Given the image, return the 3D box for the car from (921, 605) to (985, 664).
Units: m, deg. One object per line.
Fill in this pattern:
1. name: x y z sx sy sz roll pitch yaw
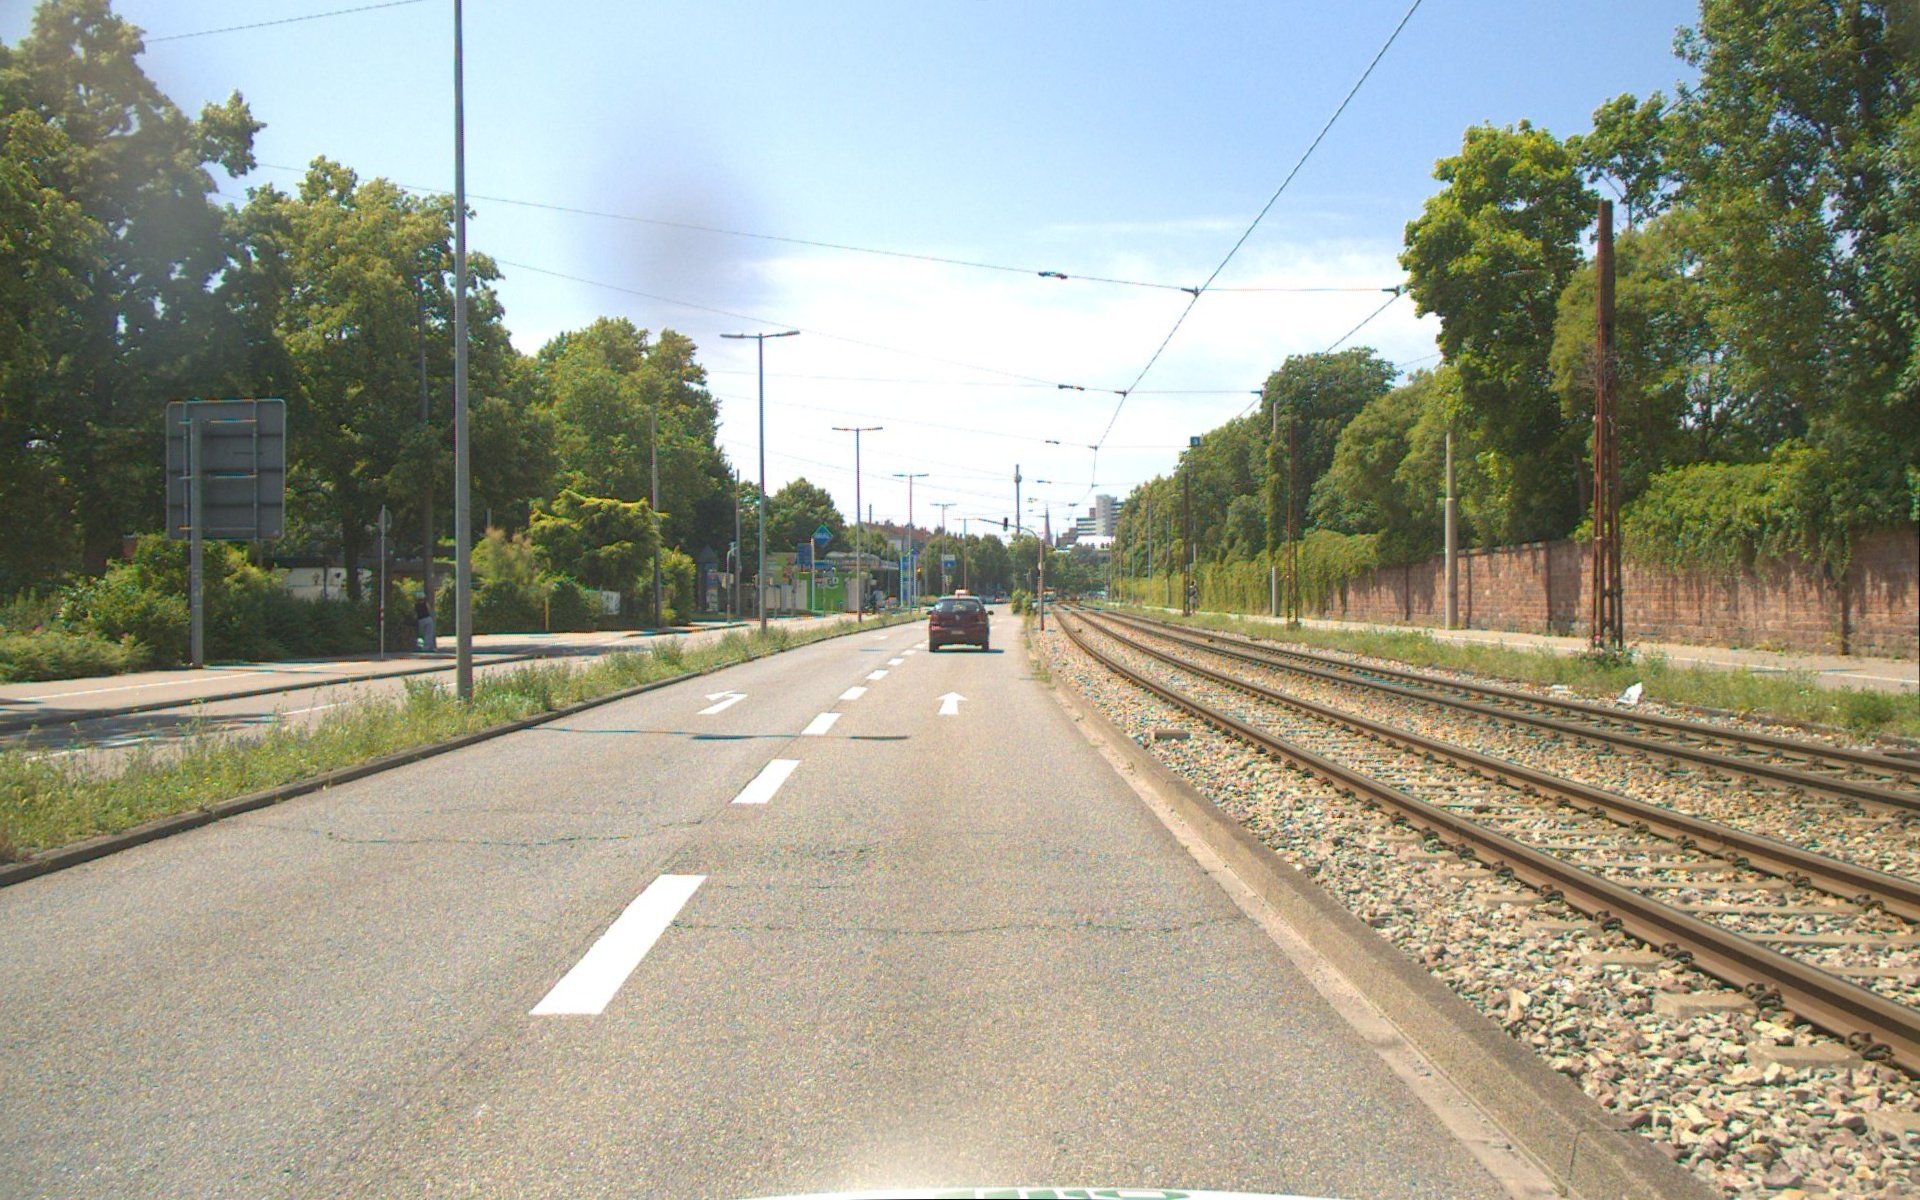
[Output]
1. car: -0.154 0.896 44.864 1.668 1.503 3.717 0 0 1

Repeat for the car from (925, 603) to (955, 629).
1. car: -1.209 0.968 100.191 1.669 1.506 3.714 2 -1 -2

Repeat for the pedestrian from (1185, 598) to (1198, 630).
1. pedestrian: 12.805 0.793 91.427 0.648 1.757 0.816 0 -1 1

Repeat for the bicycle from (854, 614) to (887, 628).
1. bicycle: -7.382 1.720 136.375 2.507 1.056 1.083 2 -2 -14

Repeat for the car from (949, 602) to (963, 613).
1. car: -0.659 1.213 258.389 1.953 1.624 3.997 1 -1 -2

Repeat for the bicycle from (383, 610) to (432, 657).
1. bicycle: -16.342 0.978 48.934 0.632 1.351 1.574 -1 -1 15

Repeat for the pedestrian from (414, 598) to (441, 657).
1. pedestrian: -15.736 0.810 48.893 0.537 1.748 0.604 -1 -1 15

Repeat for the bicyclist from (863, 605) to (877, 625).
1. bicyclist: -7.423 1.240 136.405 0.928 1.621 1.084 2 -2 -14
